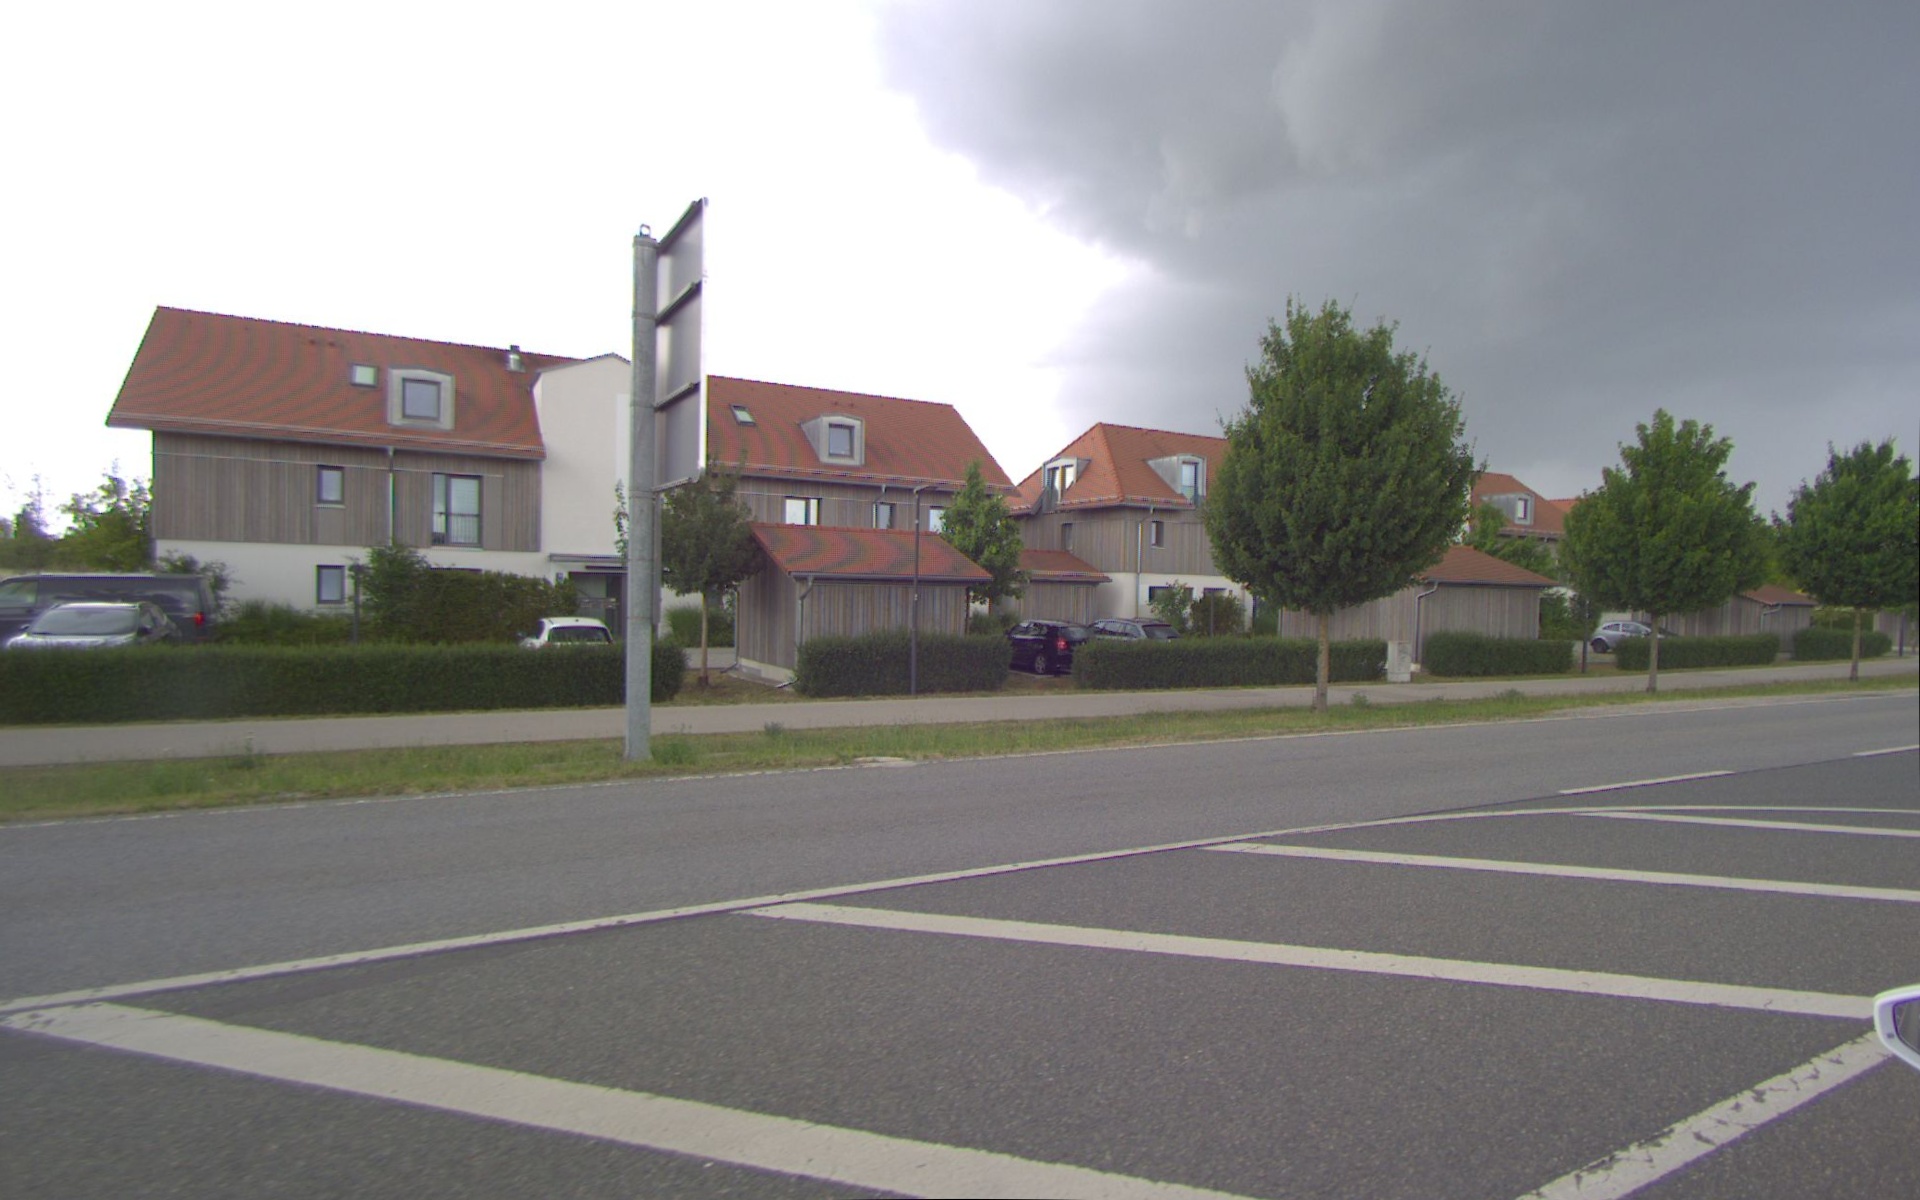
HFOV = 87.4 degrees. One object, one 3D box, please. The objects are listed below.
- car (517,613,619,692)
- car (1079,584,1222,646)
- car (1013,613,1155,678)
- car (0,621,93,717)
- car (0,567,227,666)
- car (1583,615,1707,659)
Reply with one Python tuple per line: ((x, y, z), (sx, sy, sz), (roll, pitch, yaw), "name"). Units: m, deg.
((-8.388, 1.041, 21.370), (1.545, 1.509, 3.498), (1, -1, -29), "car")
((5.335, 0.422, 28.549), (1.975, 1.639, 3.971), (1, -1, -28), "car")
((3.325, 1.195, 27.694), (1.975, 1.639, 3.971), (1, -1, -28), "car")
((-16.981, 1.118, 17.419), (1.882, 1.449, 4.885), (1, -1, -28), "car")
((-20.266, 0.354, 23.177), (5.133, 2.041, 1.986), (1, 4, -27), "car")
((29.619, 1.550, 43.564), (1.975, 1.577, 3.970), (1, 2, -28), "car")
